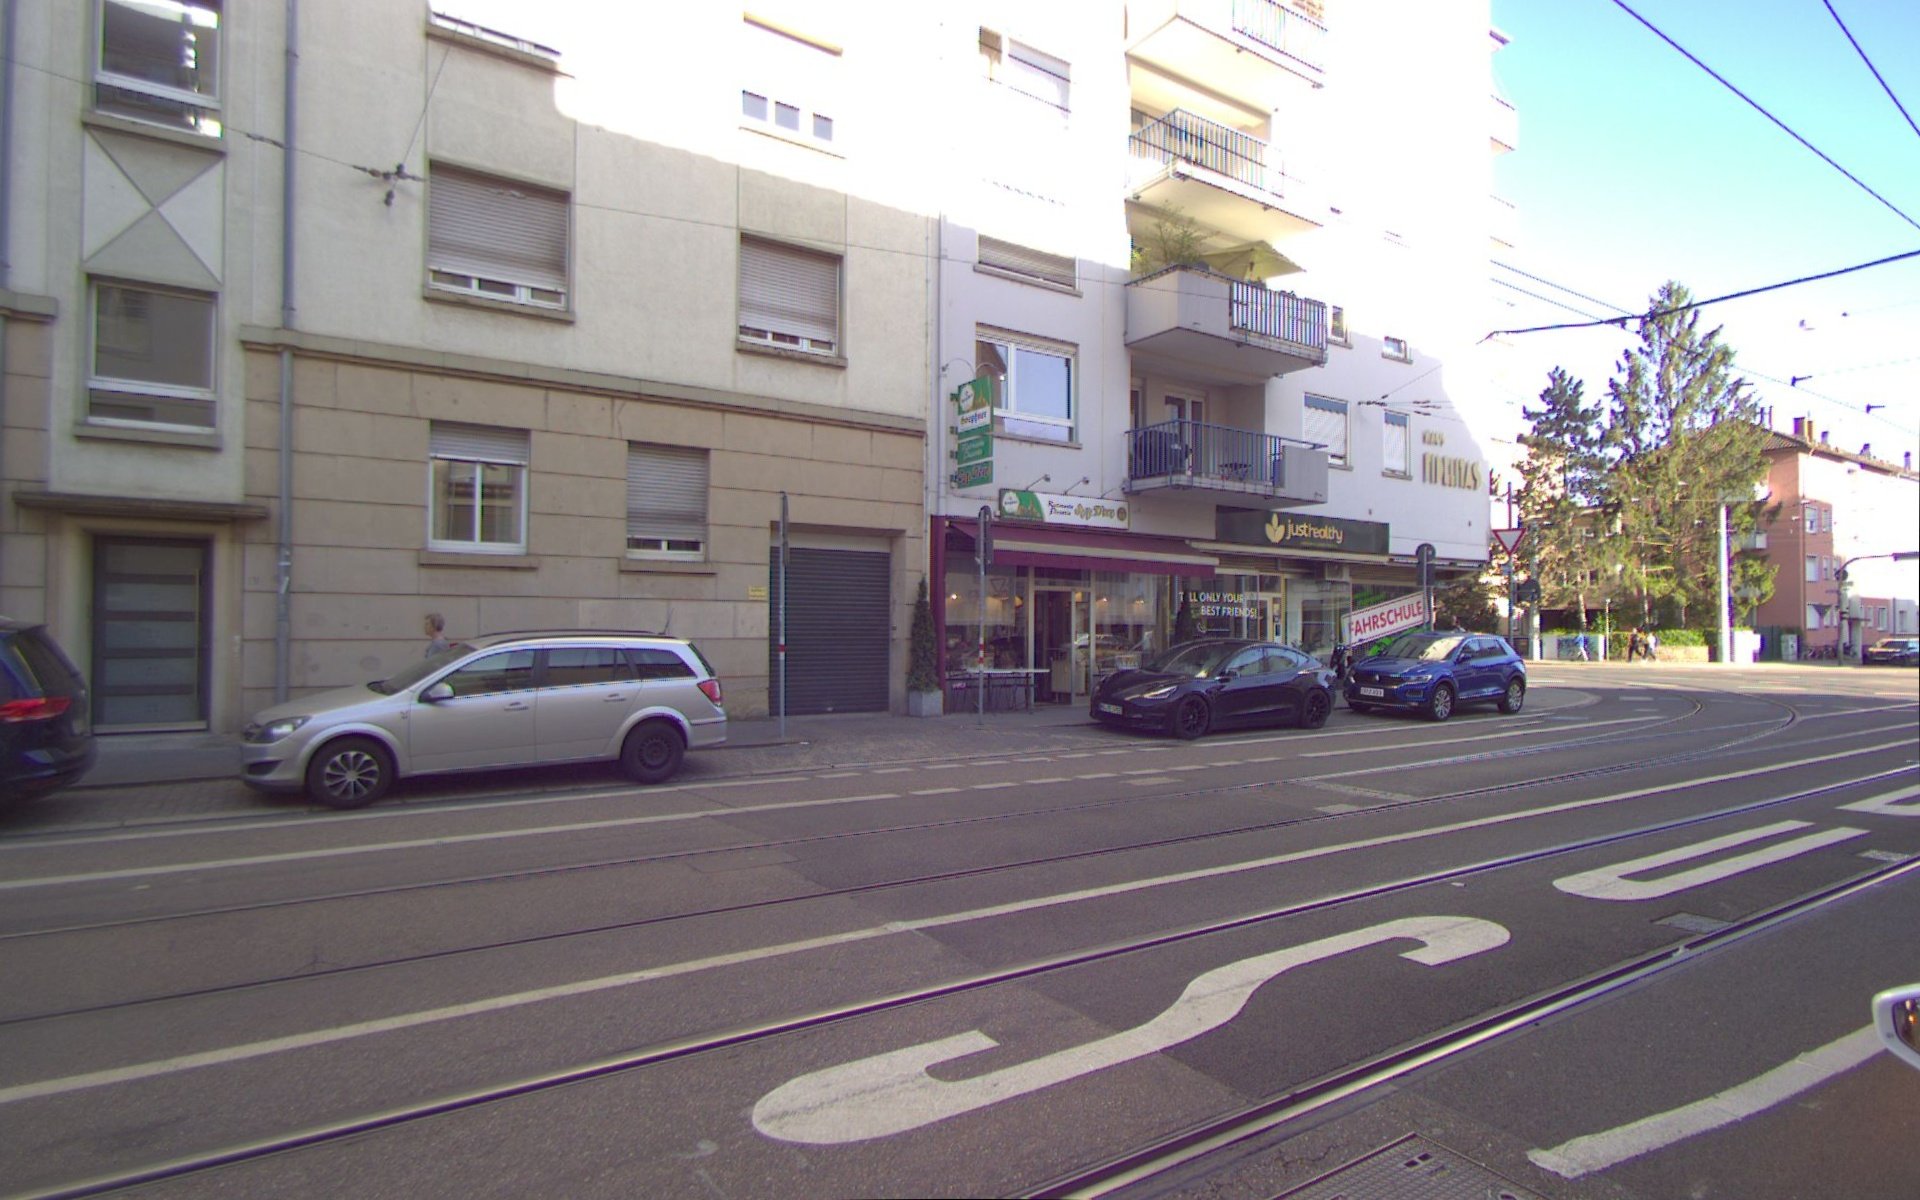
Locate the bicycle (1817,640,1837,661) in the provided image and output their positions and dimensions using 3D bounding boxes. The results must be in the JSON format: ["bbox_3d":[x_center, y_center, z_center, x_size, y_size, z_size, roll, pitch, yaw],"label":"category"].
[{"bbox_3d":[47.595,2.753,55.151,1.895,1.097,0.532,2,-2,-41],"label":"bicycle"}]

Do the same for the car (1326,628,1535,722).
[{"bbox_3d":[8.981,1.348,19.069,4.072,1.525,1.714,1,1,-34],"label":"car"}]

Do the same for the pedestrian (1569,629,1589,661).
[{"bbox_3d":[33.945,2.466,55.082,0.800,1.725,0.676,-1,-2,44],"label":"pedestrian"}]

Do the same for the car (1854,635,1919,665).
[{"bbox_3d":[49.714,2.622,53.769,3.961,1.539,1.938,1,-2,-36],"label":"car"}]

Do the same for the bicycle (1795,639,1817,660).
[{"bbox_3d":[46.872,2.731,55.618,1.895,1.097,0.634,2,-2,-41],"label":"bicycle"}]

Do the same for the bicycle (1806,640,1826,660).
[{"bbox_3d":[47.168,2.741,55.326,1.895,1.097,0.532,2,-2,-41],"label":"bicycle"}]

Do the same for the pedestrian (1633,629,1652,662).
[{"bbox_3d":[35.546,2.365,52.294,0.798,1.725,0.604,-1,-2,37],"label":"pedestrian"}]

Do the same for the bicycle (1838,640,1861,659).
[{"bbox_3d":[53.147,2.945,60.012,1.892,1.097,0.605,1,-2,-37],"label":"bicycle"}]

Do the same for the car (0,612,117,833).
[{"bbox_3d":[-9.005,0.881,7.176,4.343,1.620,1.785,1,-1,-34],"label":"car"}]

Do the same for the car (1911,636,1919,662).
[{"bbox_3d":[58.117,2.904,59.438,3.961,1.539,1.938,1,-2,-36],"label":"car"}]

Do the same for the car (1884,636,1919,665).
[{"bbox_3d":[54.263,2.847,56.999,4.006,1.539,1.938,1,-2,-36],"label":"car"}]

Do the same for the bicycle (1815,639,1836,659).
[{"bbox_3d":[50.730,2.867,58.867,1.892,1.097,0.533,1,-2,-37],"label":"bicycle"}]

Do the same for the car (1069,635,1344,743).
[{"bbox_3d":[4.002,1.317,16.027,4.442,1.422,1.714,1,1,-34],"label":"car"}]

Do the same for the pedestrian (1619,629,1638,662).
[{"bbox_3d":[35.423,2.389,53.227,0.798,1.725,0.632,-1,-2,37],"label":"pedestrian"}]

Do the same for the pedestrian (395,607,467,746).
[{"bbox_3d":[-6.222,0.879,11.808,0.686,1.562,0.565,1,-2,-32],"label":"pedestrian"}]

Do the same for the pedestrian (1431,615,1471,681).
[{"bbox_3d":[14.000,1.356,28.657,0.707,1.859,0.771,0,-1,-3],"label":"pedestrian"}]

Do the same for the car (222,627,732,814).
[{"bbox_3d":[-4.717,1.051,10.198,4.343,1.497,1.785,1,-1,-34],"label":"car"}]
